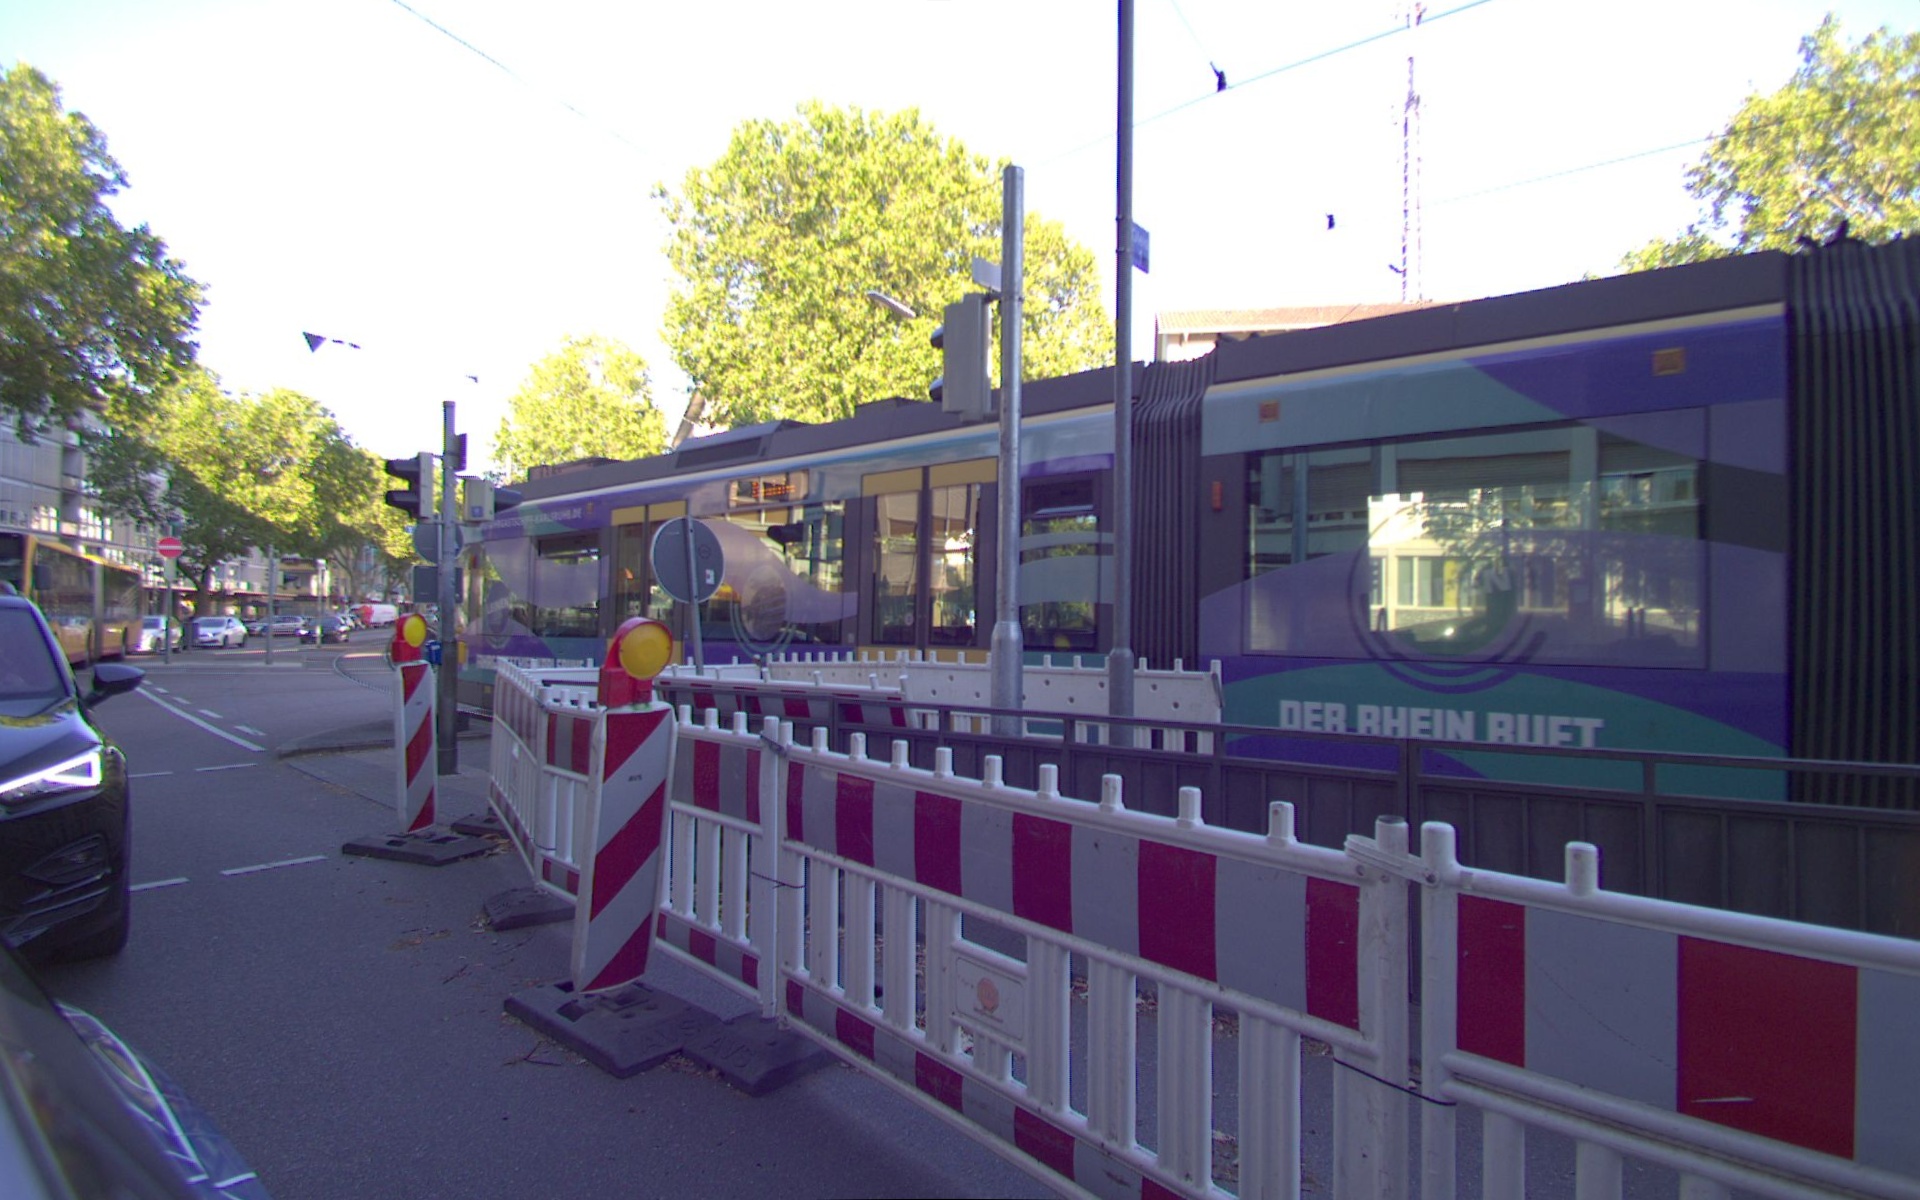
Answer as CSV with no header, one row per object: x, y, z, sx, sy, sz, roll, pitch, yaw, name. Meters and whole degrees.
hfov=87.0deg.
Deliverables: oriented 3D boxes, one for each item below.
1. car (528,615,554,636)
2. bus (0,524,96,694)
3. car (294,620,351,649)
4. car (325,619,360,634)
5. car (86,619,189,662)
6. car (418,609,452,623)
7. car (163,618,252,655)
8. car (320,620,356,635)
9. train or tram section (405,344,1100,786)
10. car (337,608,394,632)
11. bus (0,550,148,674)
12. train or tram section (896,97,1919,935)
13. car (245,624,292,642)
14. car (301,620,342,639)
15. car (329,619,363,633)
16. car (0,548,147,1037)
-38.719,2.358,93.526,1.965,1.881,4.012,1,-1,-19,car
-21.050,0.225,21.948,2.710,3.127,9.519,1,-2,-36,bus
-34.637,1.841,55.086,1.923,1.486,4.772,1,-1,-24,car
-58.152,2.467,95.270,1.201,1.399,2.592,0,-1,43,car
-30.639,1.469,37.869,1.880,1.486,4.433,1,-1,-24,car
-77.519,2.436,149.457,1.874,2.029,3.956,-1,-2,32,car
-34.663,1.638,46.754,1.923,1.562,4.771,1,-1,-19,car
-56.552,2.505,92.063,1.201,1.290,2.592,0,-1,43,car
-3.378,-0.206,12.526,10.334,3.514,2.805,-1,-1,42,train or tram section
-61.621,2.033,104.999,1.873,2.394,4.817,0,-1,30,car
-26.356,0.382,29.797,2.708,3.127,9.523,1,-2,-32,bus
4.336,-0.333,5.841,10.330,3.514,2.842,-1,-1,40,train or tram section
-50.728,2.415,74.292,1.198,1.226,2.599,0,-1,34,car
-52.235,2.422,82.799,1.201,1.484,2.592,0,-1,43,car
-59.482,2.488,98.032,1.201,1.355,2.592,0,-1,43,car
-5.170,0.688,4.597,4.300,1.670,1.823,-1,-1,45,car
